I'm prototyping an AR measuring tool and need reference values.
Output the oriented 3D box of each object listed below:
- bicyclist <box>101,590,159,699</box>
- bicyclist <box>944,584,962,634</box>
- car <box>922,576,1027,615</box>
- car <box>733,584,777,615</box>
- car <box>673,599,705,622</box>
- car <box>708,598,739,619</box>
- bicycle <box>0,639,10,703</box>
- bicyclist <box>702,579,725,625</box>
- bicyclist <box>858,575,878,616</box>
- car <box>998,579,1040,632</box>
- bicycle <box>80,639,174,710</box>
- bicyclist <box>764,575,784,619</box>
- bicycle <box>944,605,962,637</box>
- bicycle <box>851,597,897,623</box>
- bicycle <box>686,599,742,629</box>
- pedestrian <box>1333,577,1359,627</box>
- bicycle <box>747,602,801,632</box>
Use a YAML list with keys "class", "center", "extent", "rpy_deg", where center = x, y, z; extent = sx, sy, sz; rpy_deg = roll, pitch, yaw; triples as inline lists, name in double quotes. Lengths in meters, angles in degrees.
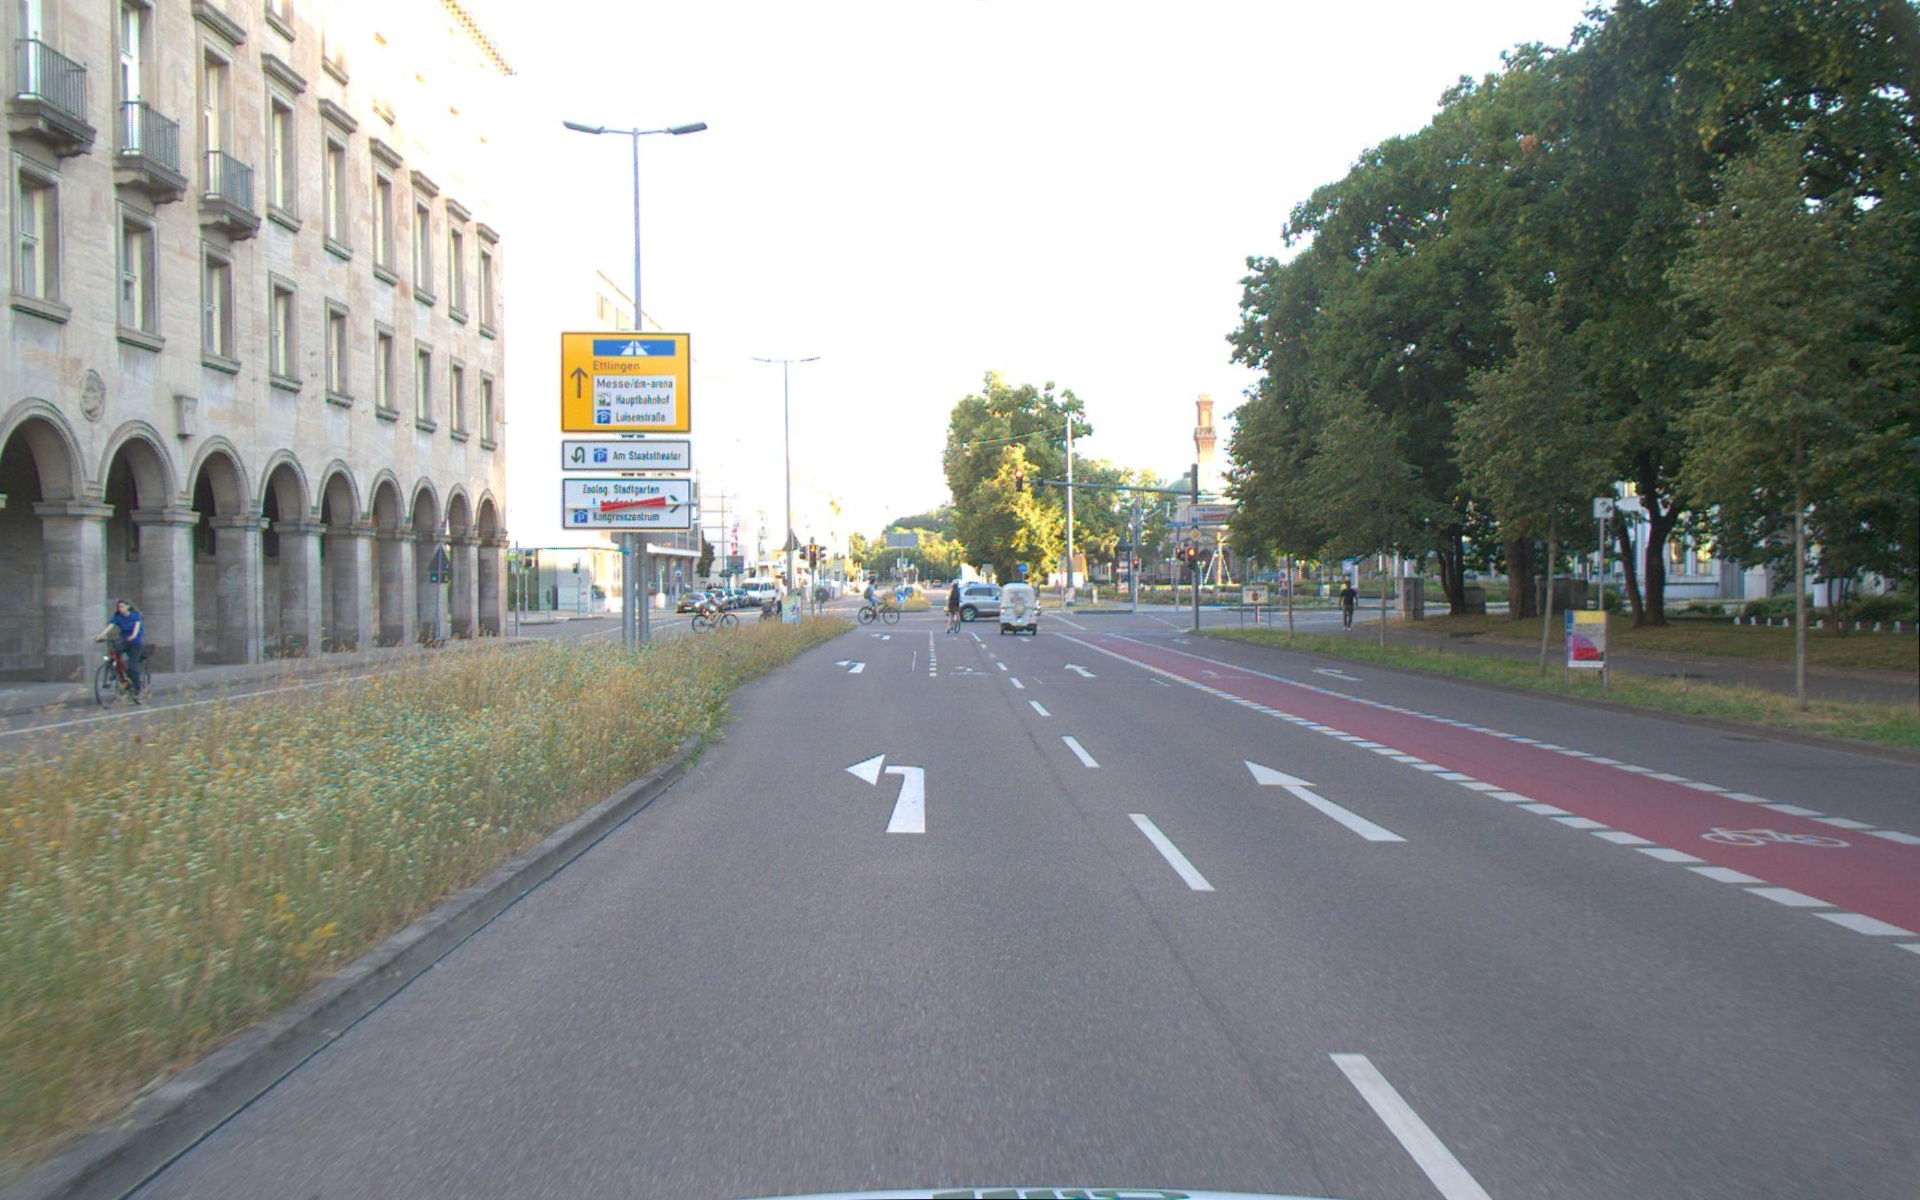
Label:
- class: "bicyclist"
  center: [-13.320, 0.707, 26.557]
  extent: [0.525, 1.723, 0.748]
  rpy_deg: [-1, 0, 0]
- class: "bicyclist"
  center: [-0.253, 0.310, 58.491]
  extent: [0.615, 1.723, 0.748]
  rpy_deg: [-1, 0, -2]
- class: "car"
  center: [0.649, -0.202, 74.597]
  extent: [4.450, 1.677, 1.996]
  rpy_deg: [-1, 0, -10]
- class: "car"
  center: [-18.211, -0.018, 147.105]
  extent: [2.130, 2.427, 5.994]
  rpy_deg: [-2, -2, 10]
- class: "car"
  center: [-19.200, 0.740, 117.361]
  extent: [1.760, 1.501, 3.998]
  rpy_deg: [-1, -2, -2]
- class: "car"
  center: [-19.130, 0.715, 134.083]
  extent: [1.759, 1.501, 4.001]
  rpy_deg: [-1, -2, 2]
- class: "bicycle"
  center: [-16.114, 1.156, 26.048]
  extent: [0.469, 1.023, 1.998]
  rpy_deg: [-1, 0, 34]
- class: "bicyclist"
  center: [-9.317, 0.081, 62.628]
  extent: [0.731, 1.723, 0.715]
  rpy_deg: [-1, 0, 0]
- class: "bicyclist"
  center: [-3.902, -0.175, 70.190]
  extent: [0.730, 1.723, 0.715]
  rpy_deg: [-1, 0, 2]
- class: "car"
  center: [2.049, 0.174, 58.285]
  extent: [1.429, 1.811, 2.565]
  rpy_deg: [0, 1, 1]
- class: "bicycle"
  center: [-13.317, 1.168, 26.501]
  extent: [0.530, 1.023, 2.004]
  rpy_deg: [-1, 0, -1]
- class: "bicyclist"
  center: [-7.239, -0.116, 64.395]
  extent: [0.731, 1.723, 0.764]
  rpy_deg: [-1, 0, -5]
- class: "bicycle"
  center: [-0.256, 0.738, 58.807]
  extent: [0.624, 1.087, 2.069]
  rpy_deg: [0, 0, -1]
- class: "bicycle"
  center: [-3.642, 0.413, 70.189]
  extent: [1.857, 1.087, 0.731]
  rpy_deg: [0, 0, 1]
- class: "bicycle"
  center: [-9.310, 0.530, 62.641]
  extent: [1.973, 1.087, 0.731]
  rpy_deg: [-1, 0, 1]
- class: "pedestrian"
  center: [13.488, 0.067, 57.818]
  extent: [0.681, 1.723, 0.748]
  rpy_deg: [-1, 0, -3]
- class: "bicycle"
  center: [-7.249, 0.662, 64.412]
  extent: [2.016, 1.087, 0.786]
  rpy_deg: [-1, 0, -3]
